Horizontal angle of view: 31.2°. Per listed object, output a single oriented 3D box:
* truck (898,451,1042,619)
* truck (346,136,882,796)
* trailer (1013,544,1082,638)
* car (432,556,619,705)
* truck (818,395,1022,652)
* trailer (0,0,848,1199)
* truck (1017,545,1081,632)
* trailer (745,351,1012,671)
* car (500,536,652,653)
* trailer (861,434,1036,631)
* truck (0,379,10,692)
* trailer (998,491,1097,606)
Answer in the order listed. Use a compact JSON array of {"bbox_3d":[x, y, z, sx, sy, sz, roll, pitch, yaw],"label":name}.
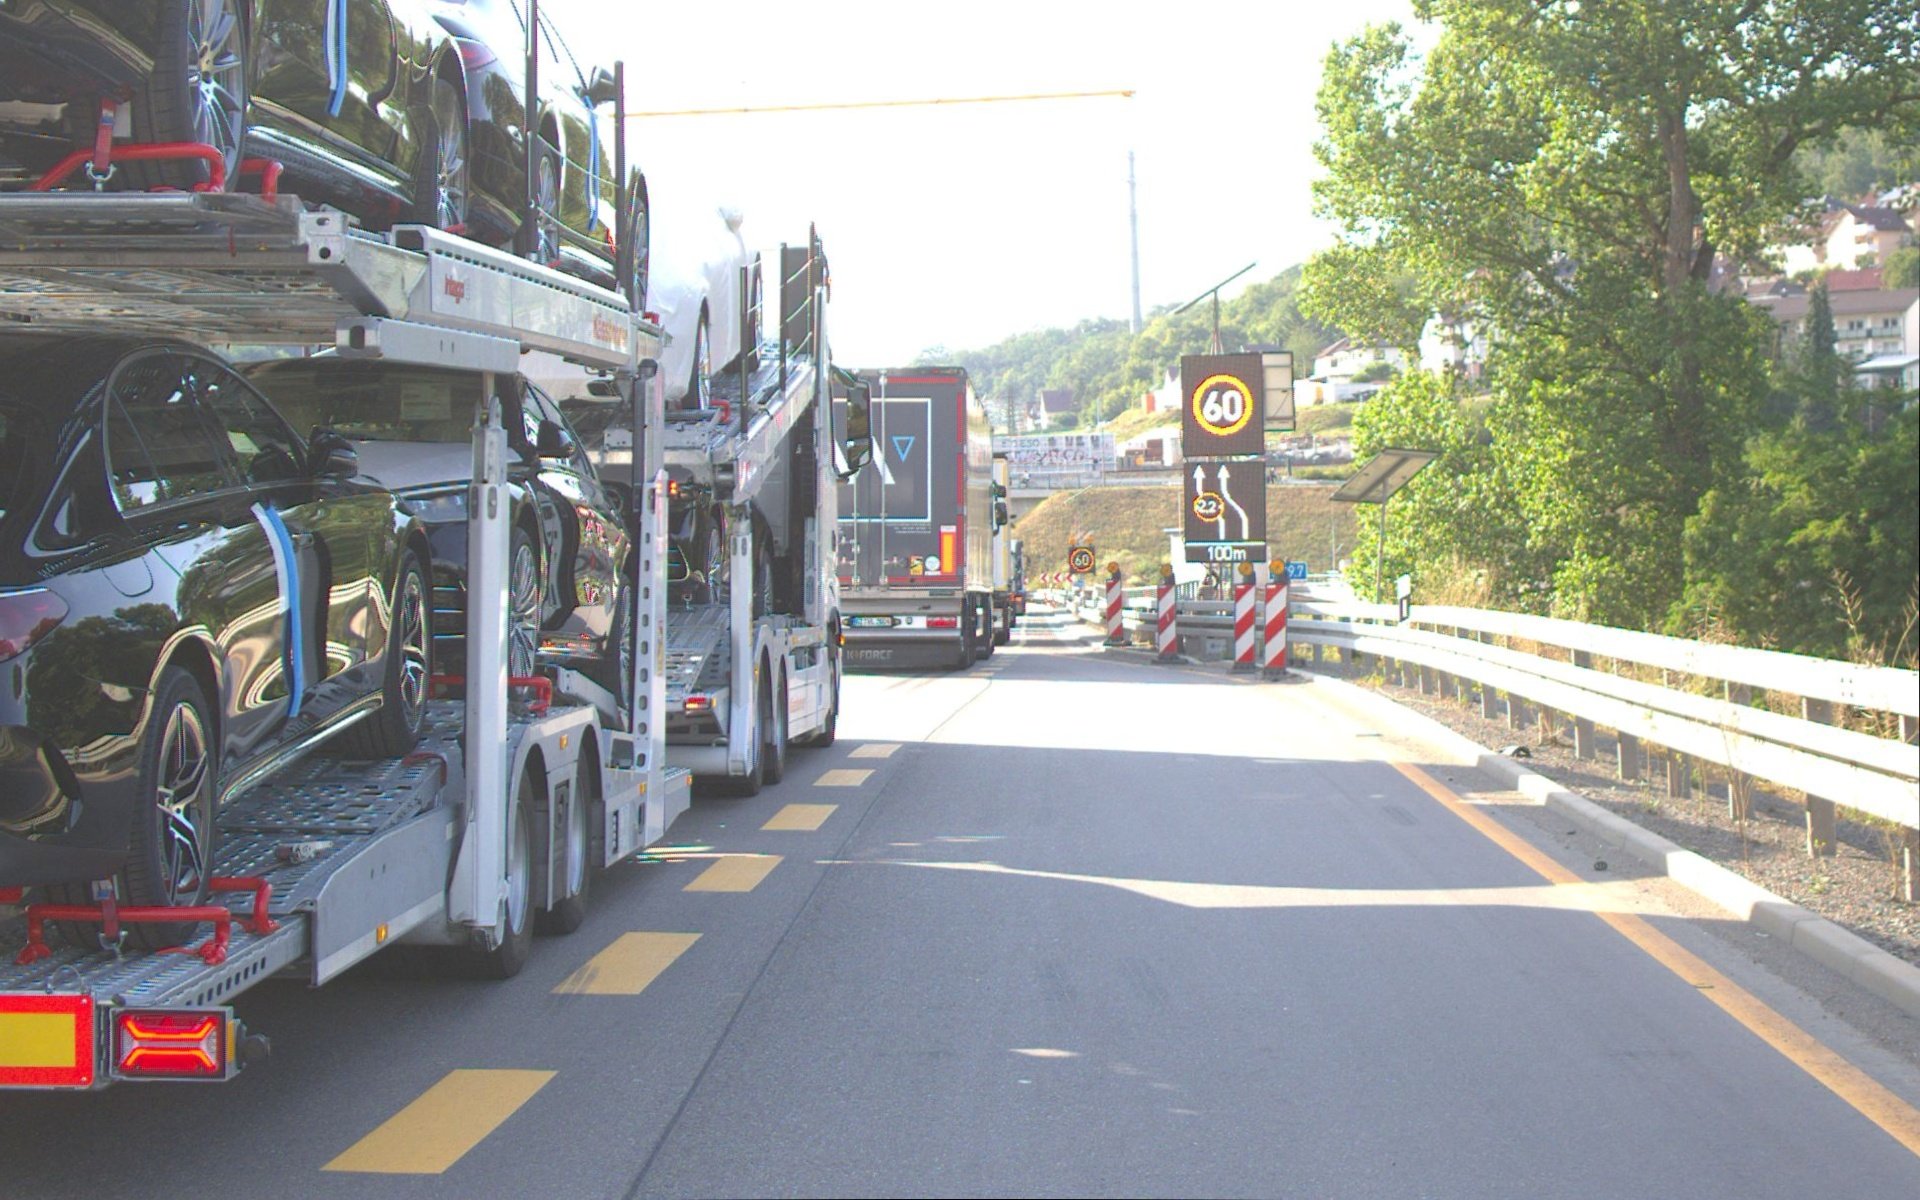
[{"bbox_3d":[0.325,-1.603,85.980,3.343,3.983,6.624,-1,1,2],"label":"truck"},{"bbox_3d":[-2.196,-0.861,24.346,2.848,3.983,6.624,-1,1,2],"label":"truck"},{"bbox_3d":[4.280,-0.506,166.674,3.104,4.299,14.252,-1,1,2],"label":"trailer"},{"bbox_3d":[-5.511,0.347,44.067,1.830,1.746,4.000,-2,1,0],"label":"car"},{"bbox_3d":[-0.572,-1.246,57.296,2.885,3.983,6.624,-1,1,3],"label":"truck"},{"bbox_3d":[-2.458,-0.725,14.832,2.857,3.983,15.746,-1,1,2],"label":"trailer"},{"bbox_3d":[4.530,-0.610,174.446,3.098,4.271,6.624,-1,1,2],"label":"truck"},{"bbox_3d":[-0.981,-1.231,50.254,2.959,4.078,10.792,-2,1,3],"label":"trailer"},{"bbox_3d":[-5.861,-0.105,52.818,1.830,1.648,4.000,-2,1,0],"label":"car"},{"bbox_3d":[-0.075,-1.493,78.239,3.385,3.983,14.745,-1,1,2],"label":"trailer"},{"bbox_3d":[-12.013,-0.629,34.605,2.897,3.385,5.951,-1,1,3],"label":"truck"},{"bbox_3d":[3.309,-1.909,128.367,3.385,3.983,14.745,-1,1,2],"label":"trailer"}]
